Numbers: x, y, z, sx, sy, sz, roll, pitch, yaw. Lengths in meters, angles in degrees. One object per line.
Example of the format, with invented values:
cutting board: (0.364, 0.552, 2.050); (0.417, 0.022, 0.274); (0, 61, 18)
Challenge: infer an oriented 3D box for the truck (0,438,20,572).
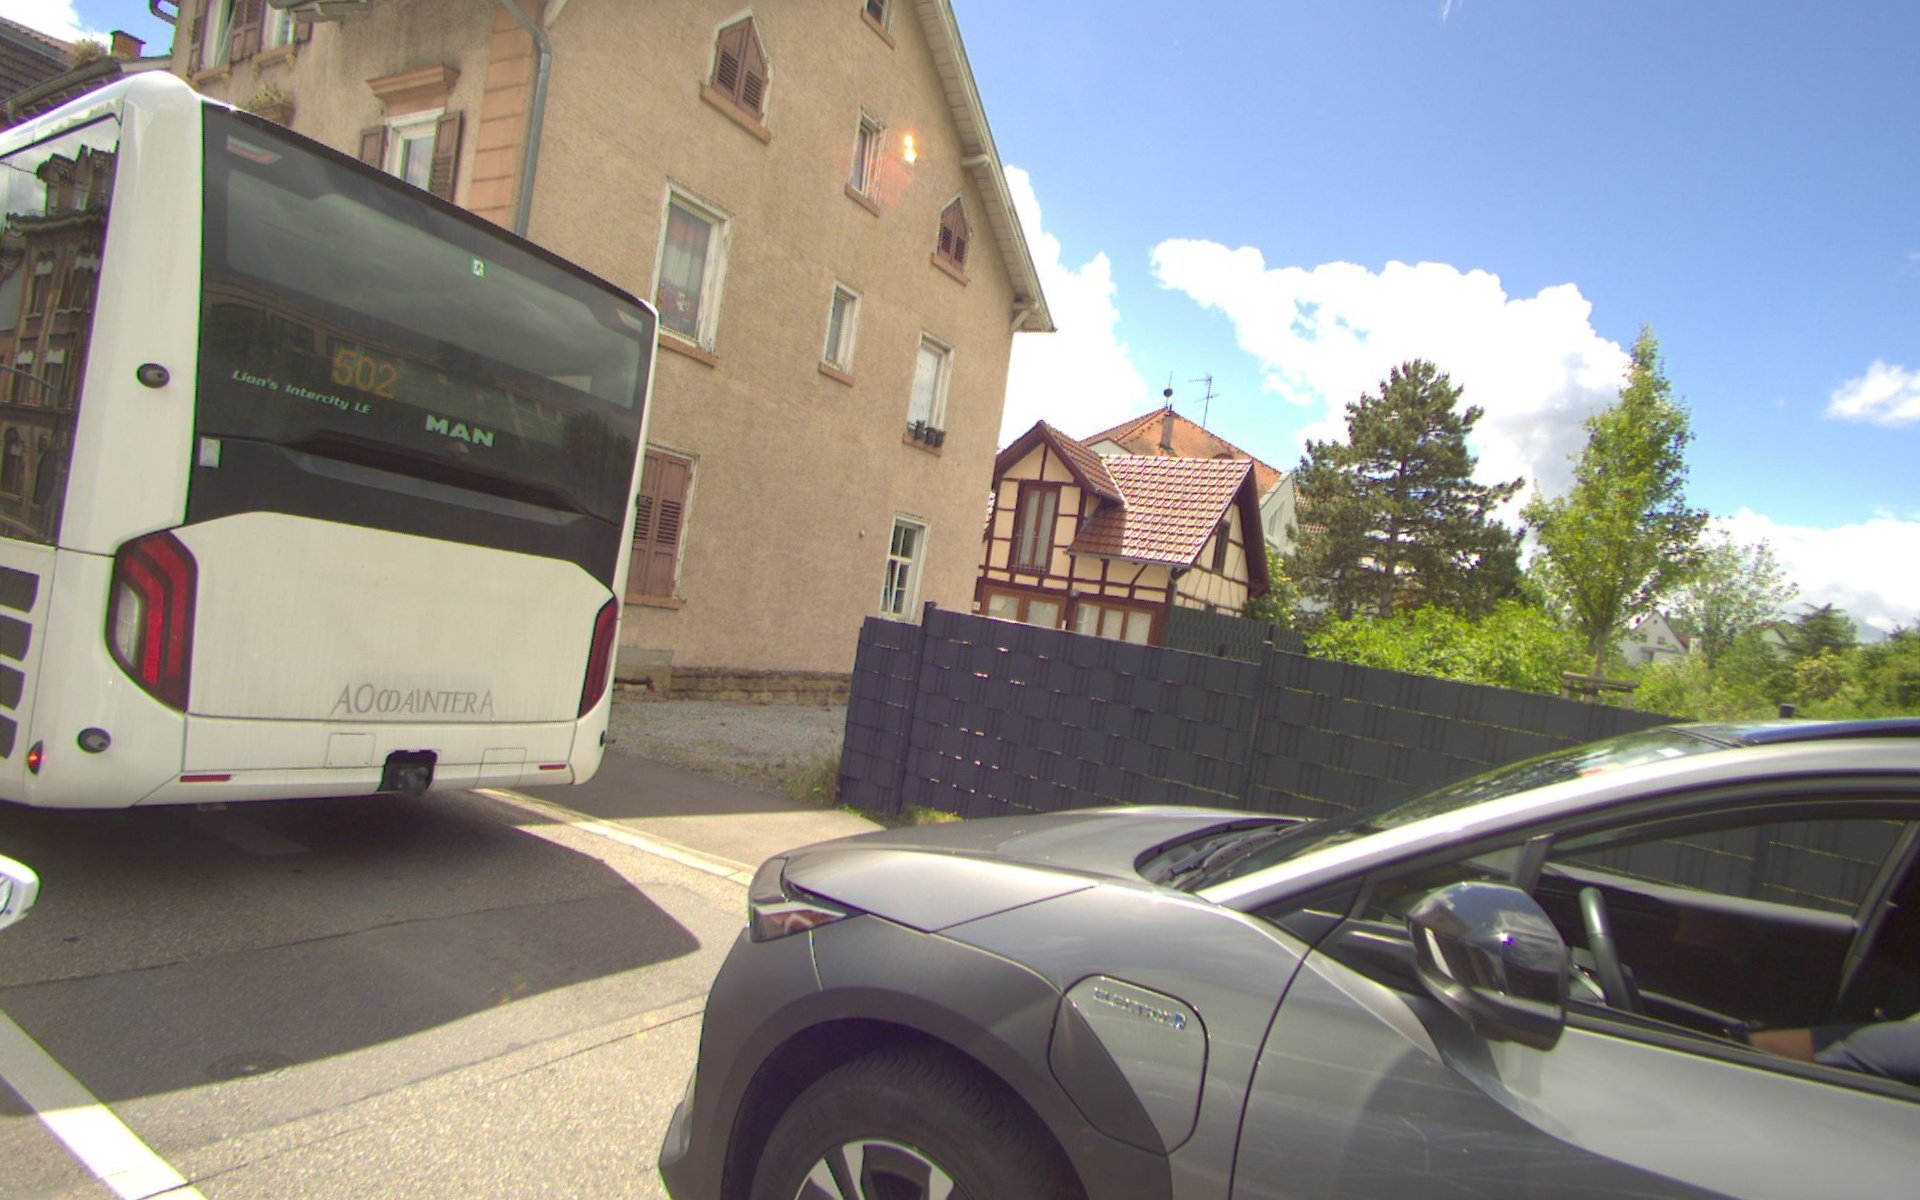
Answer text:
truck: (-24.089, -2.492, 20.700); (6.526, 2.947, 2.522); (9, -2, -40)

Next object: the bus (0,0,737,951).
bus: (-7.432, -1.020, 7.791); (12.281, 3.551, 2.910); (6, -2, 32)

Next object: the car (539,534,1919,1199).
car: (1.580, 0.985, 1.863); (4.504, 1.648, 1.997); (7, -1, 31)
